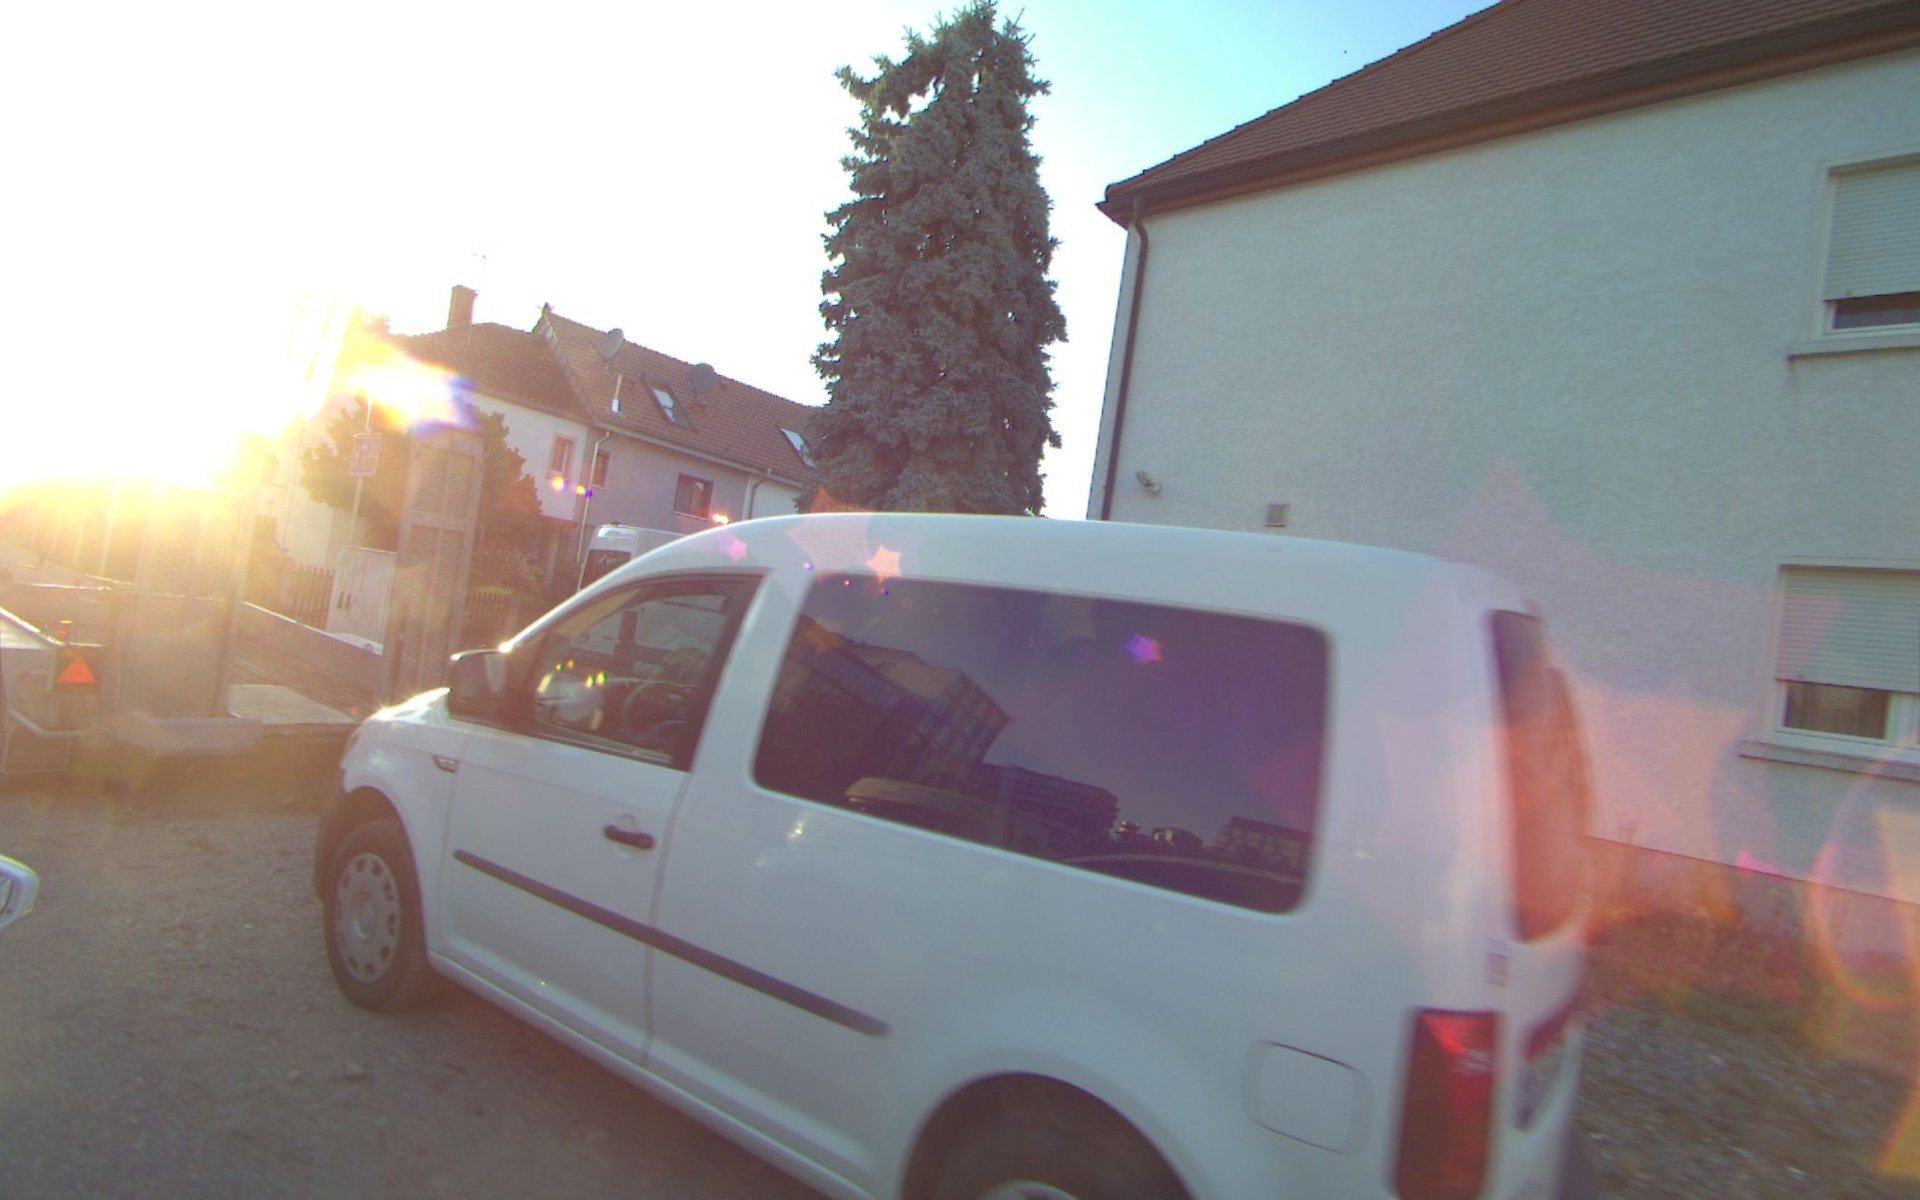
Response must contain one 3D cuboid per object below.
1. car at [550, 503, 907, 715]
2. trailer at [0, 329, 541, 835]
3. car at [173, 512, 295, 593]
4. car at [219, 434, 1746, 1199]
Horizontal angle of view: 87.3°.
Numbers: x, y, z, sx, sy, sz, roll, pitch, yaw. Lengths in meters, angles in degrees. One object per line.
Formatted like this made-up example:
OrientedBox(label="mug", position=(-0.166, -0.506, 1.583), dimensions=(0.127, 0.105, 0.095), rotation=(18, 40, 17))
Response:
OrientedBox(label="car", position=(-3.835, 0.286, 17.627), dimensions=(2.026, 2.722, 5.557), rotation=(9, -2, 45))
OrientedBox(label="trailer", position=(-5.406, -0.243, 6.670), dimensions=(5.137, 2.237, 2.068), rotation=(7, -2, 33))
OrientedBox(label="car", position=(-16.724, -1.121, 23.124), dimensions=(3.591, 1.460, 1.526), rotation=(7, -2, 44))
OrientedBox(label="car", position=(-0.388, 0.622, 3.273), dimensions=(4.338, 1.852, 1.774), rotation=(7, -2, 35))
